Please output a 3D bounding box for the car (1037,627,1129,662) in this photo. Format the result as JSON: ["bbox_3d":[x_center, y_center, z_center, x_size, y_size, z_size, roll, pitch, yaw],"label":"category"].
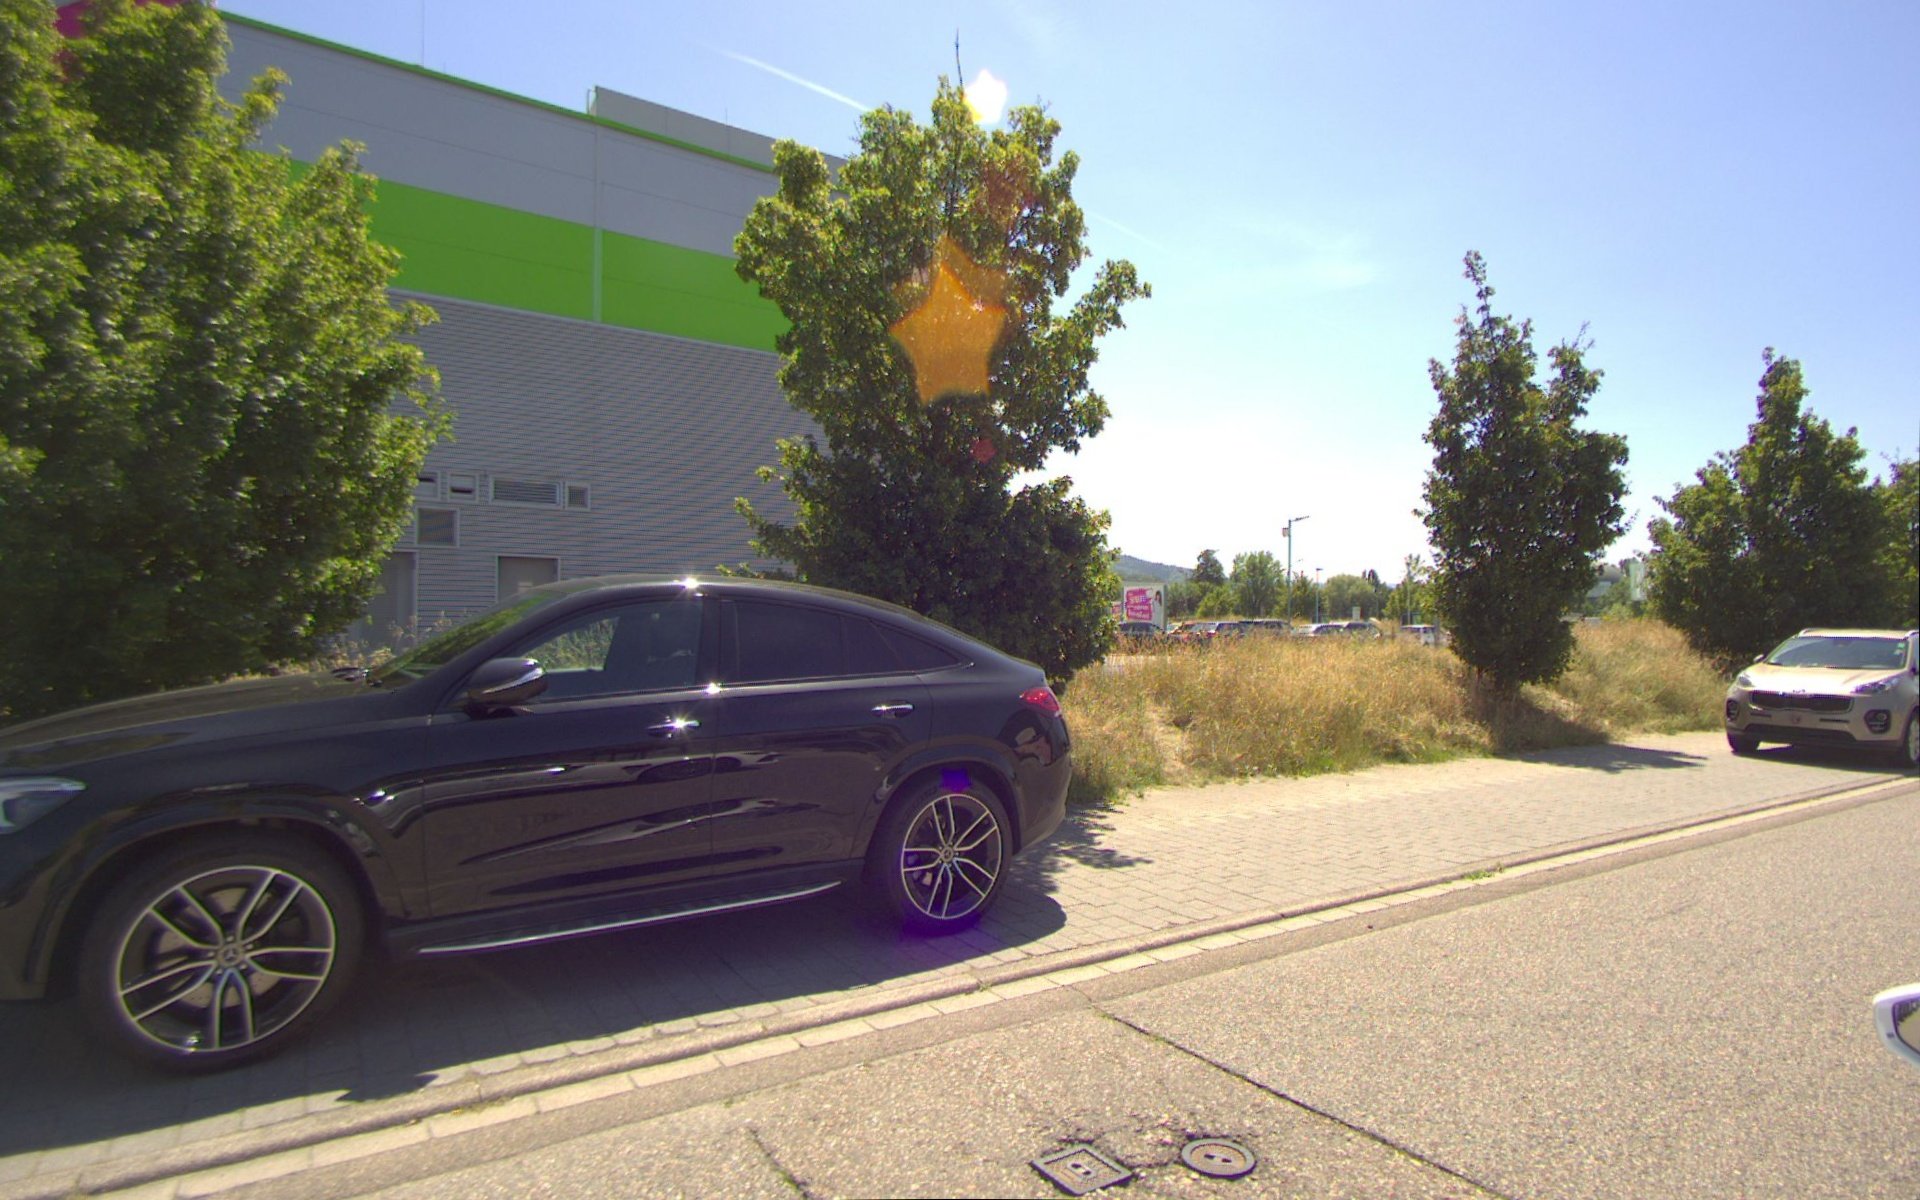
[{"bbox_3d":[5.887,2.093,47.938,3.951,1.565,1.985,1,-1,-29],"label":"car"}]

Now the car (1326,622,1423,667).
[{"bbox_3d":[17.393,1.876,42.143,3.961,1.800,1.980,2,-3,-36],"label":"car"}]

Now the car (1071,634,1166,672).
[{"bbox_3d":[7.053,2.301,44.631,3.962,1.565,1.980,1,-1,-36],"label":"car"}]

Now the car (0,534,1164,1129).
[{"bbox_3d":[-1.478,0.713,4.997,4.954,1.736,1.979,1,0,-34],"label":"car"}]

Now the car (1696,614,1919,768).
[{"bbox_3d":[11.905,1.091,13.488,4.367,1.736,1.901,1,0,-34],"label":"car"}]

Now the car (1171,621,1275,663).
[{"bbox_3d":[10.490,1.651,39.960,3.961,1.565,1.980,1,-1,-36],"label":"car"}]

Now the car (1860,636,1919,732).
[{"bbox_3d":[17.404,1.411,17.376,4.371,1.511,1.899,1,0,-37],"label":"car"}]
